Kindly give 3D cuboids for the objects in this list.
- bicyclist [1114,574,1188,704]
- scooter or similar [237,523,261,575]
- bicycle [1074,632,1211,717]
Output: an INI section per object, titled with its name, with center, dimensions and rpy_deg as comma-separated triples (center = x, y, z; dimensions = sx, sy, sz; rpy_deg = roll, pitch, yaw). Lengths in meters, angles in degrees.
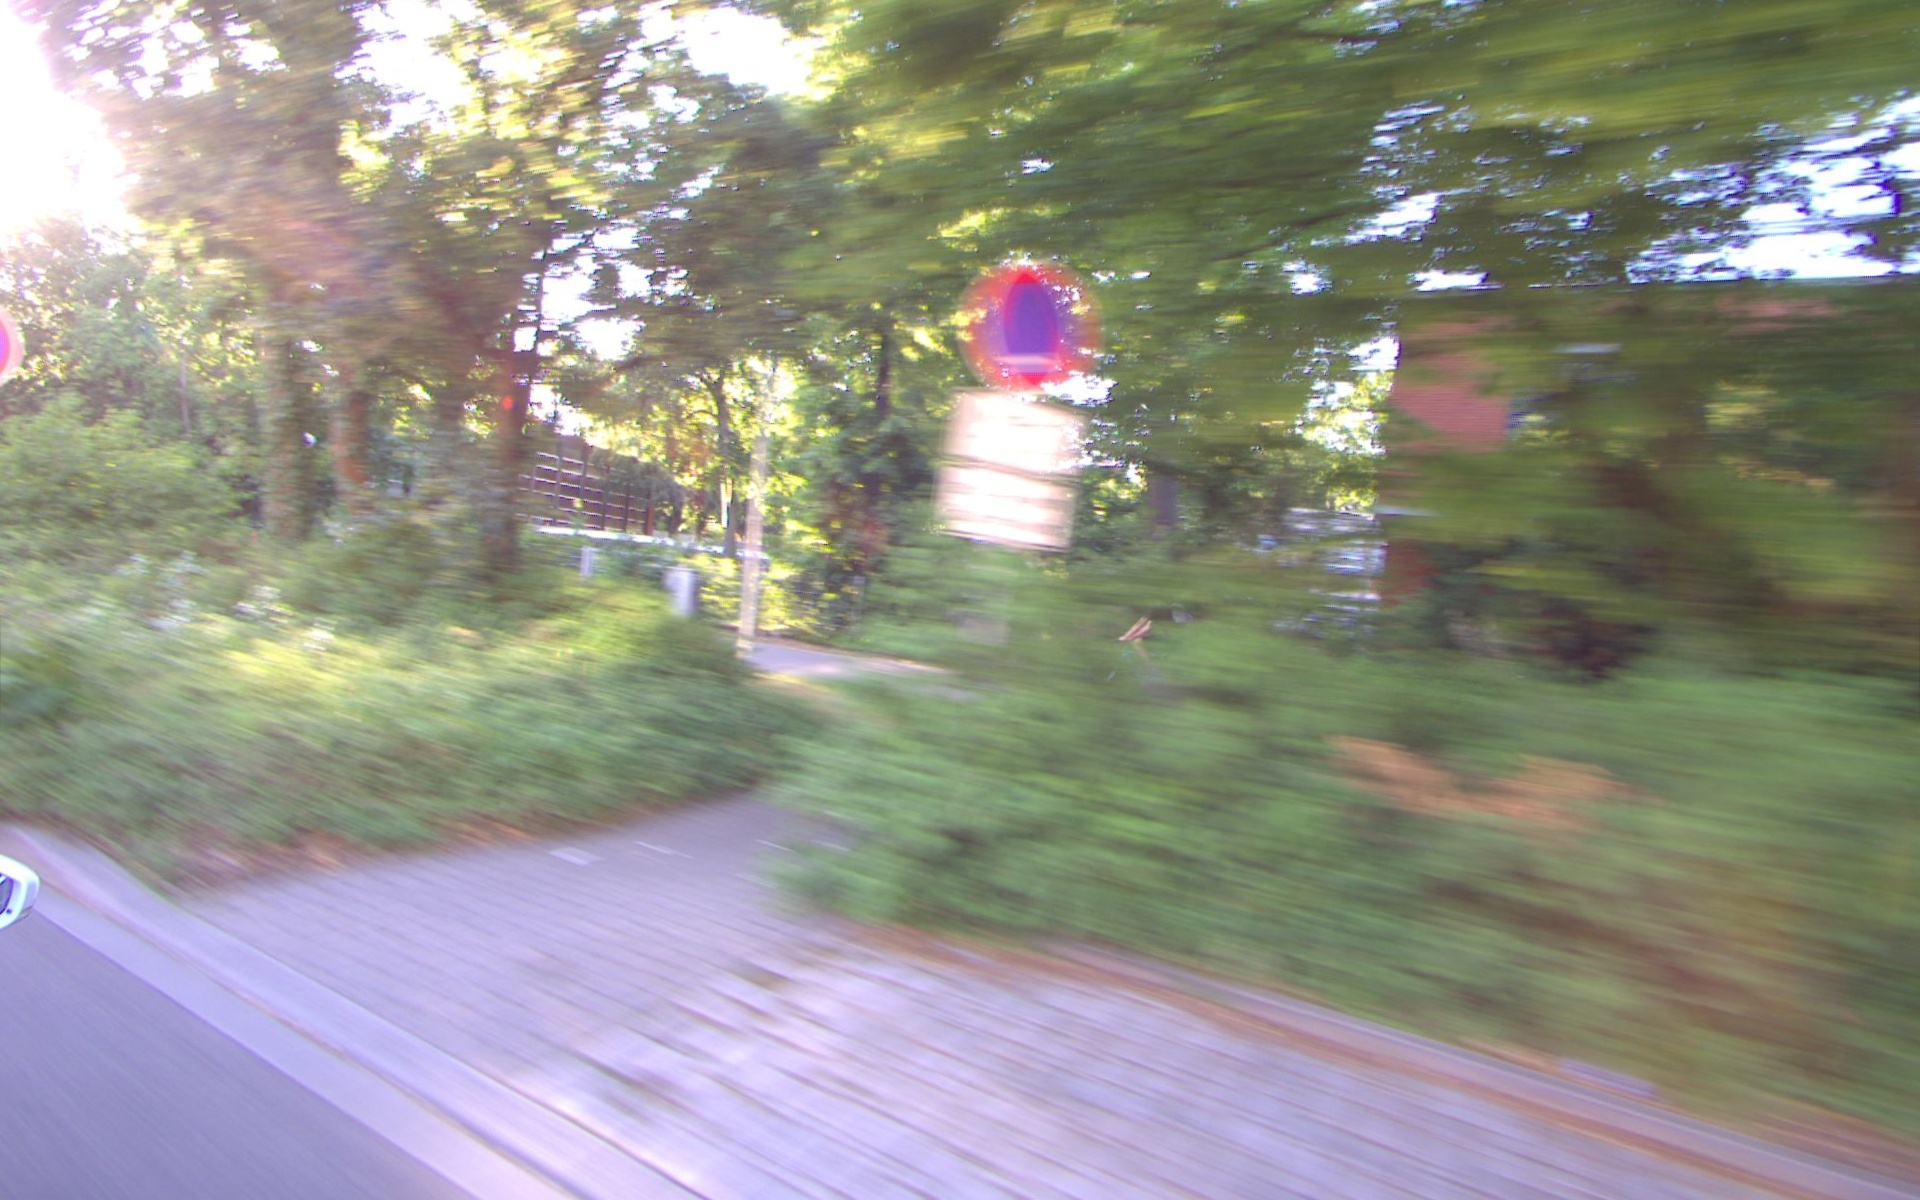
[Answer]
[bicyclist]
center = 2.612, 0.524, 13.740
dimensions = 0.711, 1.666, 0.533
rpy_deg = 7, 2, 25
[scooter or similar]
center = -17.736, -1.290, 25.086
dimensions = 0.383, 1.223, 1.455
rpy_deg = 5, 1, -36
[bicycle]
center = 2.491, 0.996, 13.780
dimensions = 1.691, 0.930, 0.533
rpy_deg = 7, 1, 25
